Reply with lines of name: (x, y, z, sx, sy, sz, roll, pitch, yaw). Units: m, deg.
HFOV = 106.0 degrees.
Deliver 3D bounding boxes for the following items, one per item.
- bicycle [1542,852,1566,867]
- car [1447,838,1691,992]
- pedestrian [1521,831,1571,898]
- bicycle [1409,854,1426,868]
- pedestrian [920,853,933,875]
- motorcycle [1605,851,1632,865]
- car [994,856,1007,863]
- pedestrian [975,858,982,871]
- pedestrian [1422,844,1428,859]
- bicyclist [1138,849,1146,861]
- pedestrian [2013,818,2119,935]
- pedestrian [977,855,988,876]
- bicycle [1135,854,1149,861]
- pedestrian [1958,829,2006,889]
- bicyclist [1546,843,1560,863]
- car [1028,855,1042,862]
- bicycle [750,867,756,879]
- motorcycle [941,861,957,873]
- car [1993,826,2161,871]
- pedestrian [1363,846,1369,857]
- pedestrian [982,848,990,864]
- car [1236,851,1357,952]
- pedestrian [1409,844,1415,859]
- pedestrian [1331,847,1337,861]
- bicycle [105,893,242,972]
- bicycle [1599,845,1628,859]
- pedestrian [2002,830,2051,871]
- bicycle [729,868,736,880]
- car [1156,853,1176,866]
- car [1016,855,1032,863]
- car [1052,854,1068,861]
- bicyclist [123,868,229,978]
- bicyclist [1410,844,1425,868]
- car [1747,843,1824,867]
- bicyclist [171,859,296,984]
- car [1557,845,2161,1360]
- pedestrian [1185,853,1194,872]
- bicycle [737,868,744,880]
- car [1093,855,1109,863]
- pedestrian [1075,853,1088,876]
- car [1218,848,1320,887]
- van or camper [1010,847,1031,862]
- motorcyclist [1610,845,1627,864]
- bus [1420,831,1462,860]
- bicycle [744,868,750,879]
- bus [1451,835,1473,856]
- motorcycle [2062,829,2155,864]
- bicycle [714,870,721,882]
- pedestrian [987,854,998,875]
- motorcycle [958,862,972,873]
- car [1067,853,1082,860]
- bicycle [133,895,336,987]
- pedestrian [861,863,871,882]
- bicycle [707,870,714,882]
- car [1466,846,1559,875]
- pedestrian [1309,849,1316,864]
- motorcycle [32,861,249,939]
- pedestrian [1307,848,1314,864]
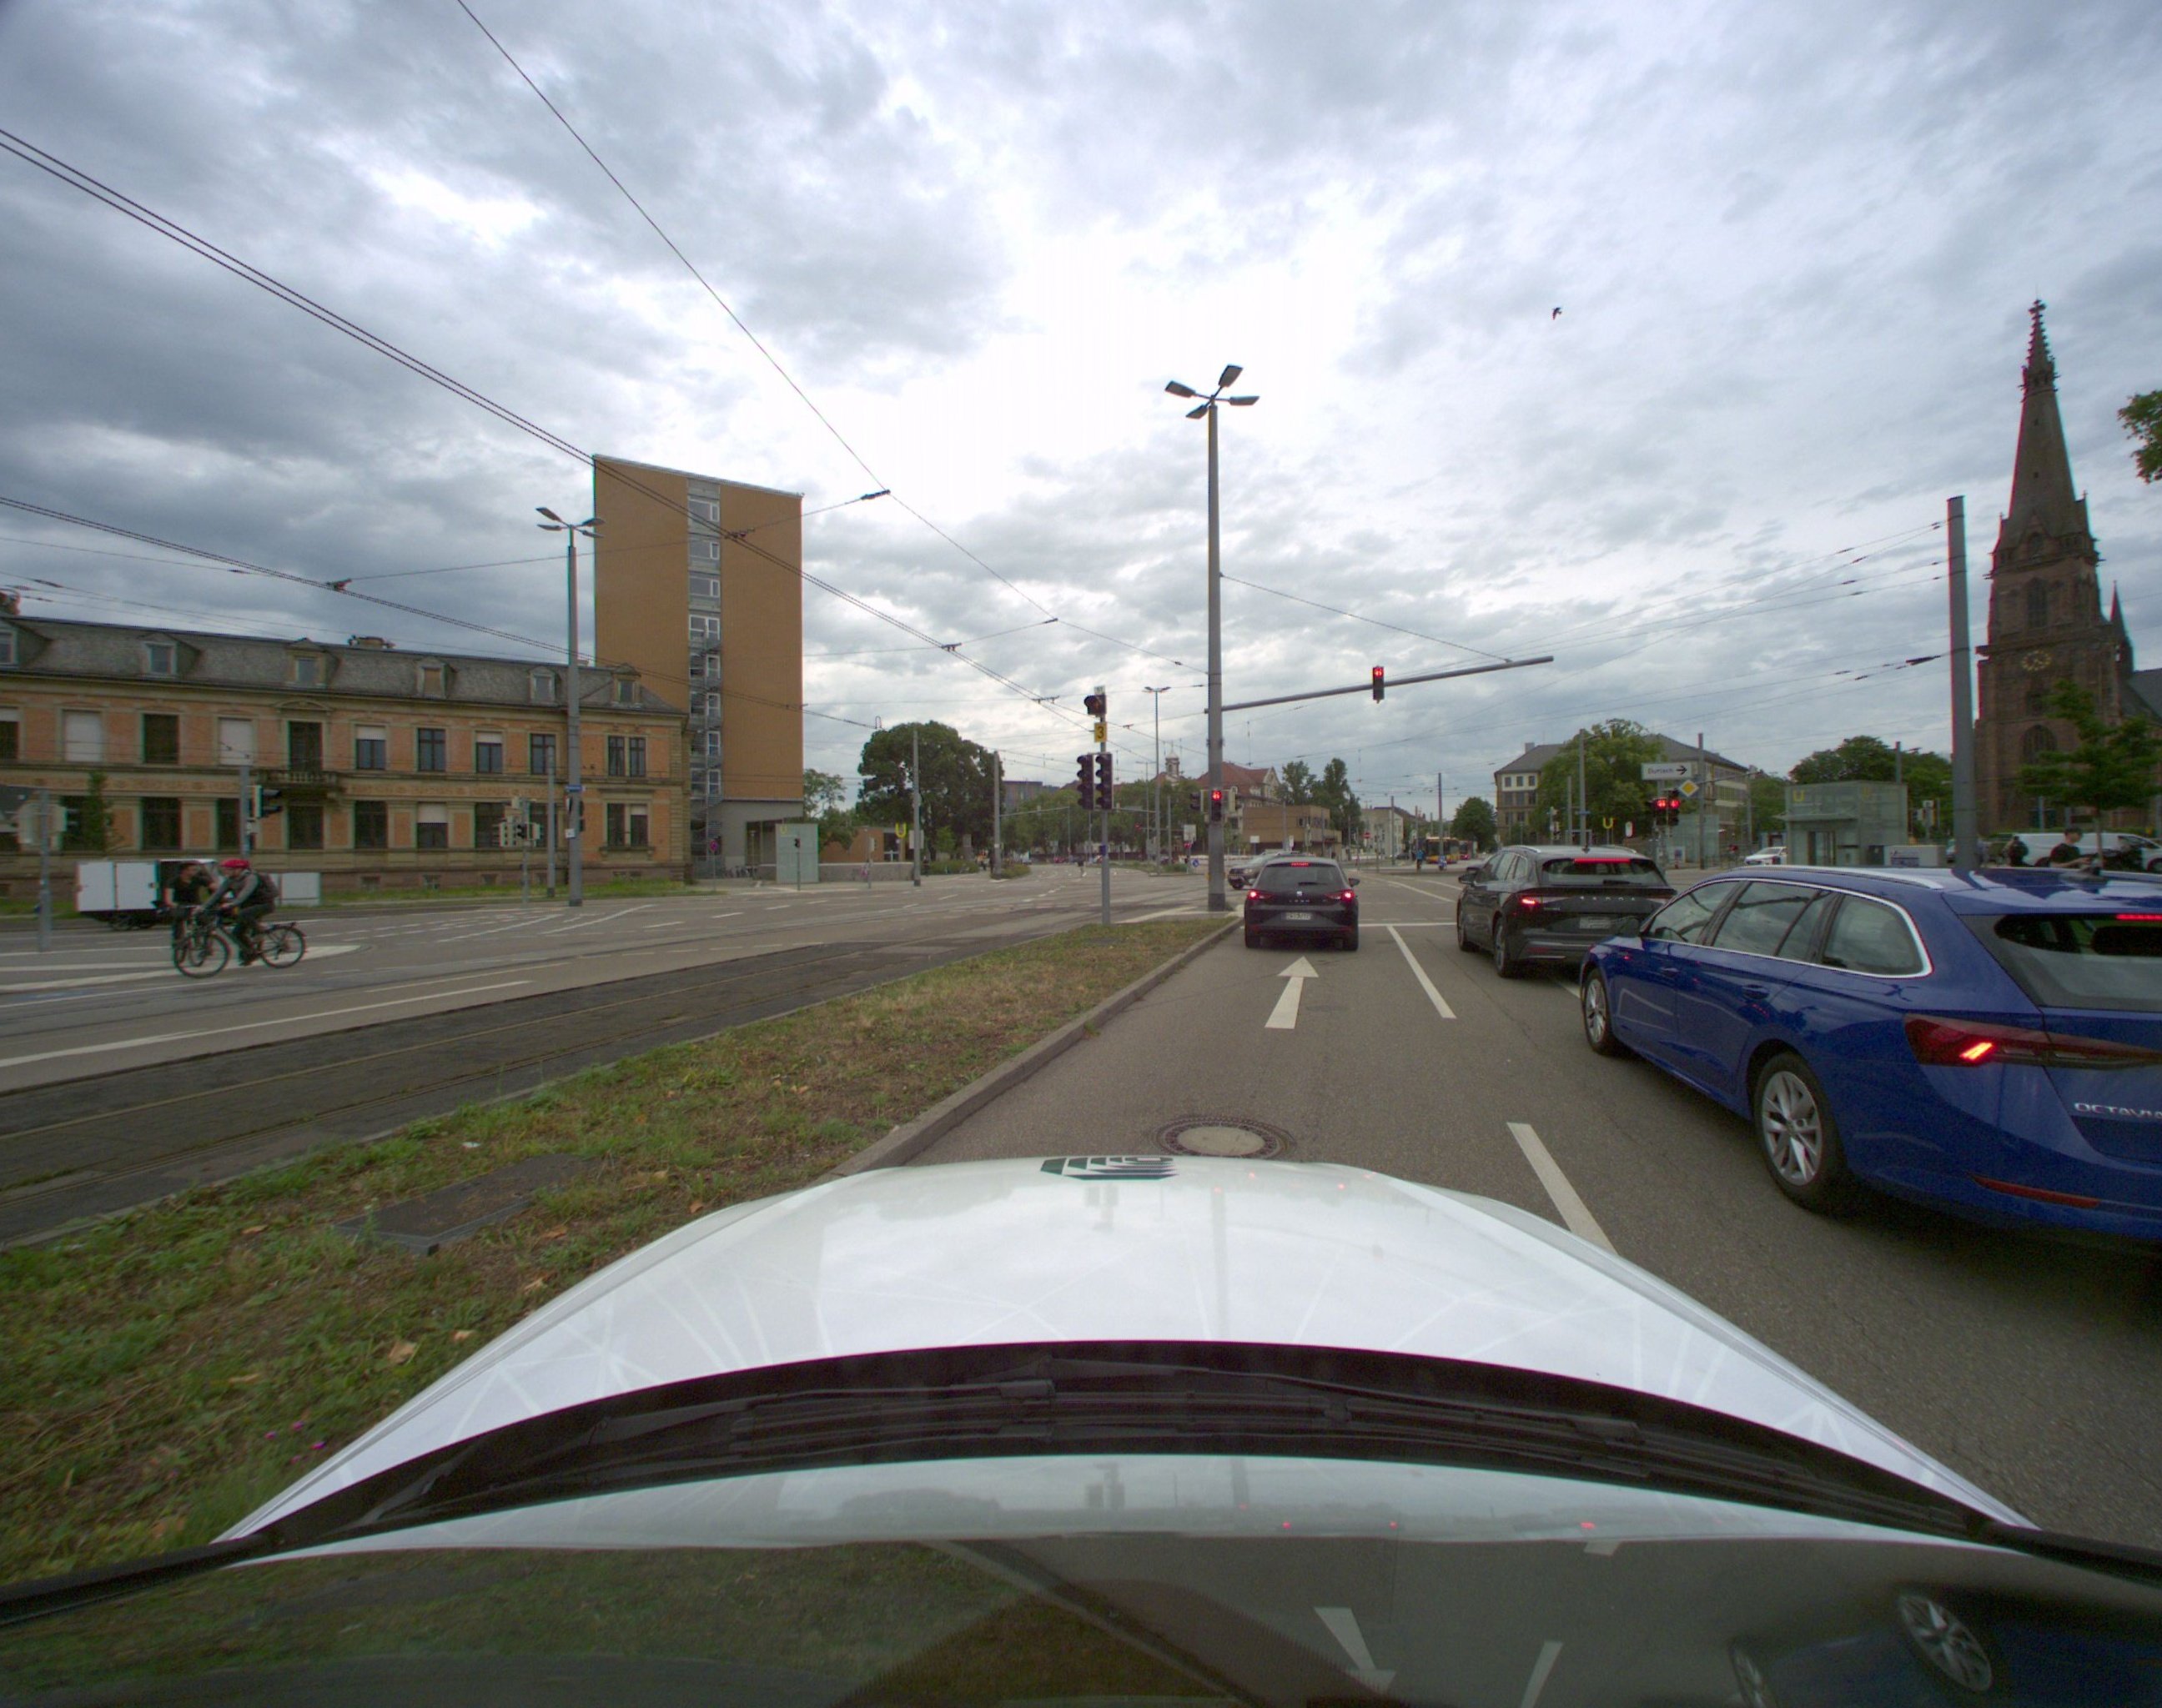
bicycle: (41.717, 0.476, 71.858, 1.727, 1.321, 0.644, -1, 0, -5)
car: (6.146, 0.631, 10.856, 1.763, 1.597, 4.530, -1, 0, 17)
pedestrian: (13.539, 0.294, 23.716, 1.106, 1.907, 0.729, 0, -1, -26)
bicycle: (26.955, 0.559, 65.287, 0.860, 1.104, 2.310, -1, 0, 12)
pedestrian: (-14.373, 0.906, 75.654, 1.018, 2.013, 0.845, -1, 0, -3)
motorcycle: (46.811, 0.337, 70.913, 2.139, 1.139, 0.740, -1, 0, -16)
car: (-19.005, 1.311, 192.708, 1.786, 1.464, 3.963, -1, 1, -28)
pedestrian: (-15.221, 1.548, 121.046, 0.876, 1.982, 0.795, -1, -2, -1)
pedestrian: (44.363, -0.314, 105.024, 0.615, 1.918, 0.703, -1, 0, 26)
bicyclist: (11.108, 0.186, 148.489, 0.984, 2.013, 0.929, -1, 0, -45)
pedestrian: (16.179, 0.348, 13.394, 0.538, 1.844, 0.978, -1, 0, -26)
pedestrian: (-9.303, 1.051, 77.306, 0.926, 1.948, 0.912, -1, 0, -2)
bicycle: (11.151, 0.604, 148.503, 2.745, 1.179, 0.931, -1, 0, -45)
pedestrian: (29.779, 0.156, 26.925, 1.020, 1.930, 0.881, -1, 0, -31)
bicyclist: (41.657, -0.085, 71.861, 0.852, 1.673, 0.653, -1, 0, -4)
car: (-10.578, 1.073, 185.494, 1.786, 1.464, 3.965, -1, 0, -27)
bicycle: (-30.876, 1.803, 76.667, 0.483, 1.049, 1.416, -1, 0, -25)
motorcycle: (-13.777, 1.336, 84.984, 1.476, 1.268, 0.507, -1, 0, -29)
car: (48.855, -0.222, 39.557, 5.663, 2.014, 2.041, -2, -2, 35)
pedestrian: (49.302, -0.450, 140.850, 0.615, 1.918, 0.715, -2, -2, 43)
pedestrian: (-12.164, 0.277, 104.258, 0.795, 1.982, 0.876, -1, -2, -18)
car: (3.628, 0.686, 13.734, 1.692, 1.449, 3.827, -1, 0, 15)
pedestrian: (42.763, -0.293, 105.099, 0.615, 1.918, 0.703, -1, 0, 26)
pedestrian: (34.439, 0.006, 110.888, 0.616, 1.918, 0.714, -1, 0, 20)
bicycle: (-15.755, 1.361, 14.141, 1.977, 1.242, 0.820, -3, 0, 19)
bicycle: (51.890, -0.180, 79.431, 2.241, 1.331, 0.711, -2, -2, 24)
pedestrian: (42.071, -0.149, 36.257, 0.945, 1.797, 1.082, -1, -2, -15)
bicycle: (-32.465, 1.864, 75.820, 0.573, 1.106, 1.416, -1, 0, -25)
car: (11.536, 0.804, 110.280, 1.990, 1.684, 3.993, -1, -1, -4)
car: (-11.413, 1.043, 162.970, 1.786, 1.464, 3.963, -1, 0, -28)
car: (-4.422, 0.716, 170.479, 1.786, 1.464, 3.963, -1, 1, -28)
bicyclist: (-15.673, 1.171, 14.117, 1.017, 1.798, 0.820, -1, 1, 19)
bicyclist: (26.945, 0.178, 65.181, 0.865, 1.851, 1.051, -1, 0, 11)
car: (45.624, 0.072, 52.765, 3.993, 1.464, 1.766, -1, -1, -14)
bicyclist: (-13.597, 1.050, 13.100, 0.825, 1.892, 1.050, -2, 0, 4)
car: (4.165, 0.723, 4.408, 1.765, 1.488, 4.486, -1, 0, 18)
pedestrian: (8.817, 0.662, 66.147, 0.724, 1.542, 0.418, -1, 0, 4)
bicycle: (-31.865, 1.856, 76.117, 0.511, 1.049, 1.416, -1, 0, -25)
car: (3.540, 0.868, 147.267, 1.779, 1.464, 3.979, -1, 0, -16)
pedestrian: (0.027, 0.871, 70.297, 1.027, 1.934, 0.699, -1, 0, -8)
car: (8.503, 0.600, 36.809, 4.233, 1.640, 1.790, -1, 0, -22)
van or camper: (-13.651, 0.118, 184.022, 2.404, 3.124, 5.448, -1, 0, -31)
motorcyclist: (46.835, 0.038, 70.922, 0.979, 1.649, 0.746, -1, -1, -16)
bus: (41.779, -0.963, 94.258, 2.932, 3.123, 11.611, -1, 0, 32)
bicycle: (-31.354, 1.826, 76.432, 0.483, 1.049, 1.416, -1, 0, -25)
bus: (62.430, -1.329, 133.357, 2.629, 3.283, 11.062, -1, 0, 28)
motorcycle: (35.159, -0.250, 27.883, 2.374, 1.168, 0.766, -1, 0, -4)
bicycle: (-33.590, 2.002, 75.213, 0.573, 1.106, 1.416, -1, 0, -25)
pedestrian: (-8.418, 1.017, 77.609, 0.926, 2.014, 1.011, -1, -2, -3)
motorcycle: (-12.292, 1.416, 86.558, 0.505, 1.111, 1.755, -1, 0, 30)
car: (-1.391, 0.508, 163.884, 1.782, 1.464, 3.972, -1, 1, -21)
bicycle: (-13.584, 1.351, 13.197, 0.820, 1.208, 2.237, -2, 0, 5)
pedestrian: (-15.713, 1.343, 59.475, 0.576, 1.336, 0.494, -1, 0, -33)
bicycle: (-34.128, 2.015, 74.940, 0.573, 1.106, 1.416, -1, 0, -25)
car: (22.739, 0.339, 42.918, 4.388, 1.396, 1.689, -1, 0, -17)
pedestrian: (29.011, 0.290, 102.227, 0.702, 1.918, 0.627, -1, 0, 24)
motorcycle: (-26.905, 1.253, 23.475, 3.693, 2.013, 1.682, -1, 0, -25)
pedestrian: (28.653, 0.281, 101.500, 0.702, 1.918, 0.627, -1, 0, 24)
